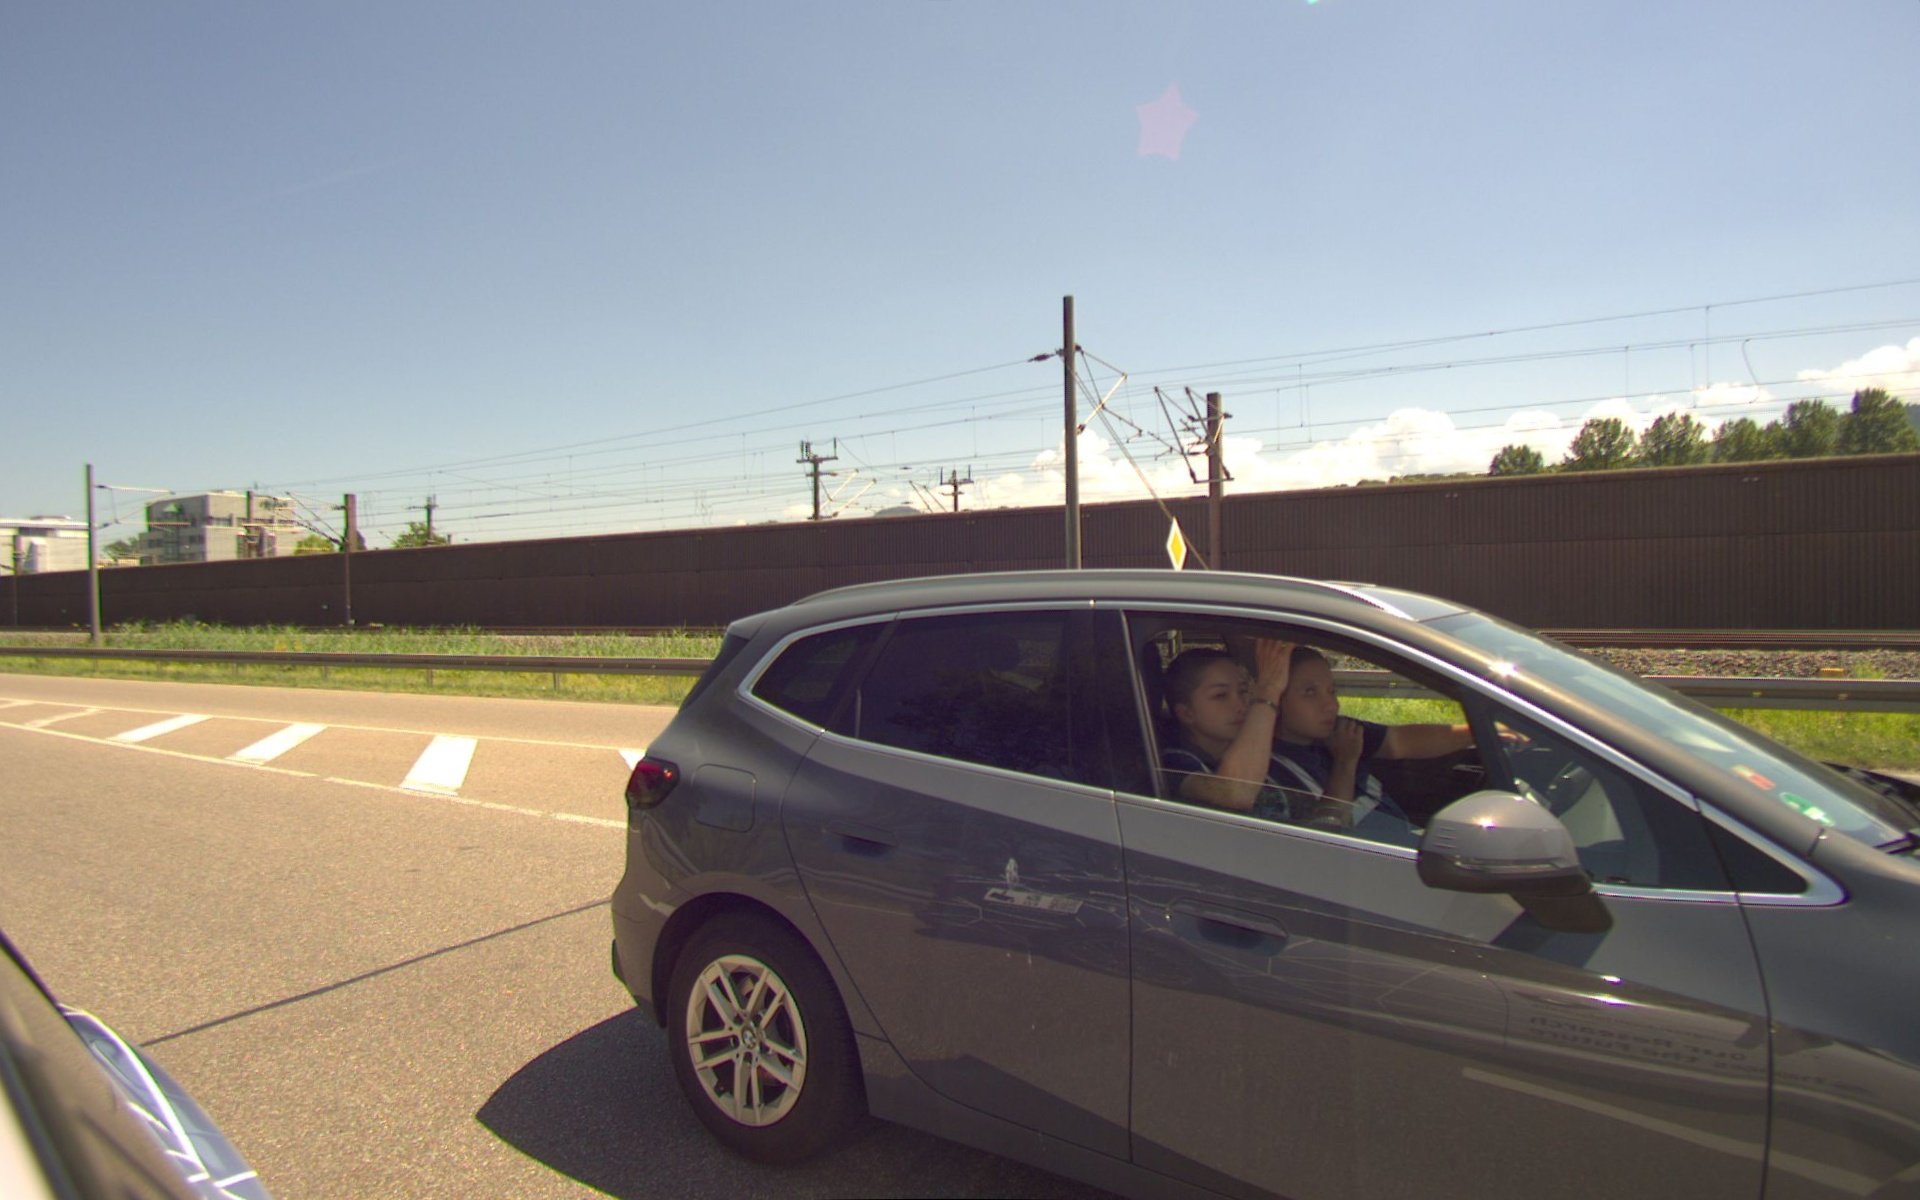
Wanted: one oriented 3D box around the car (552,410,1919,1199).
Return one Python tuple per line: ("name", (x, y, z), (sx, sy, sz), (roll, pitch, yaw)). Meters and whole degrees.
("car", (1.050, 0.583, 2.623), (4.212, 1.635, 1.830), (-1, -1, 33))
